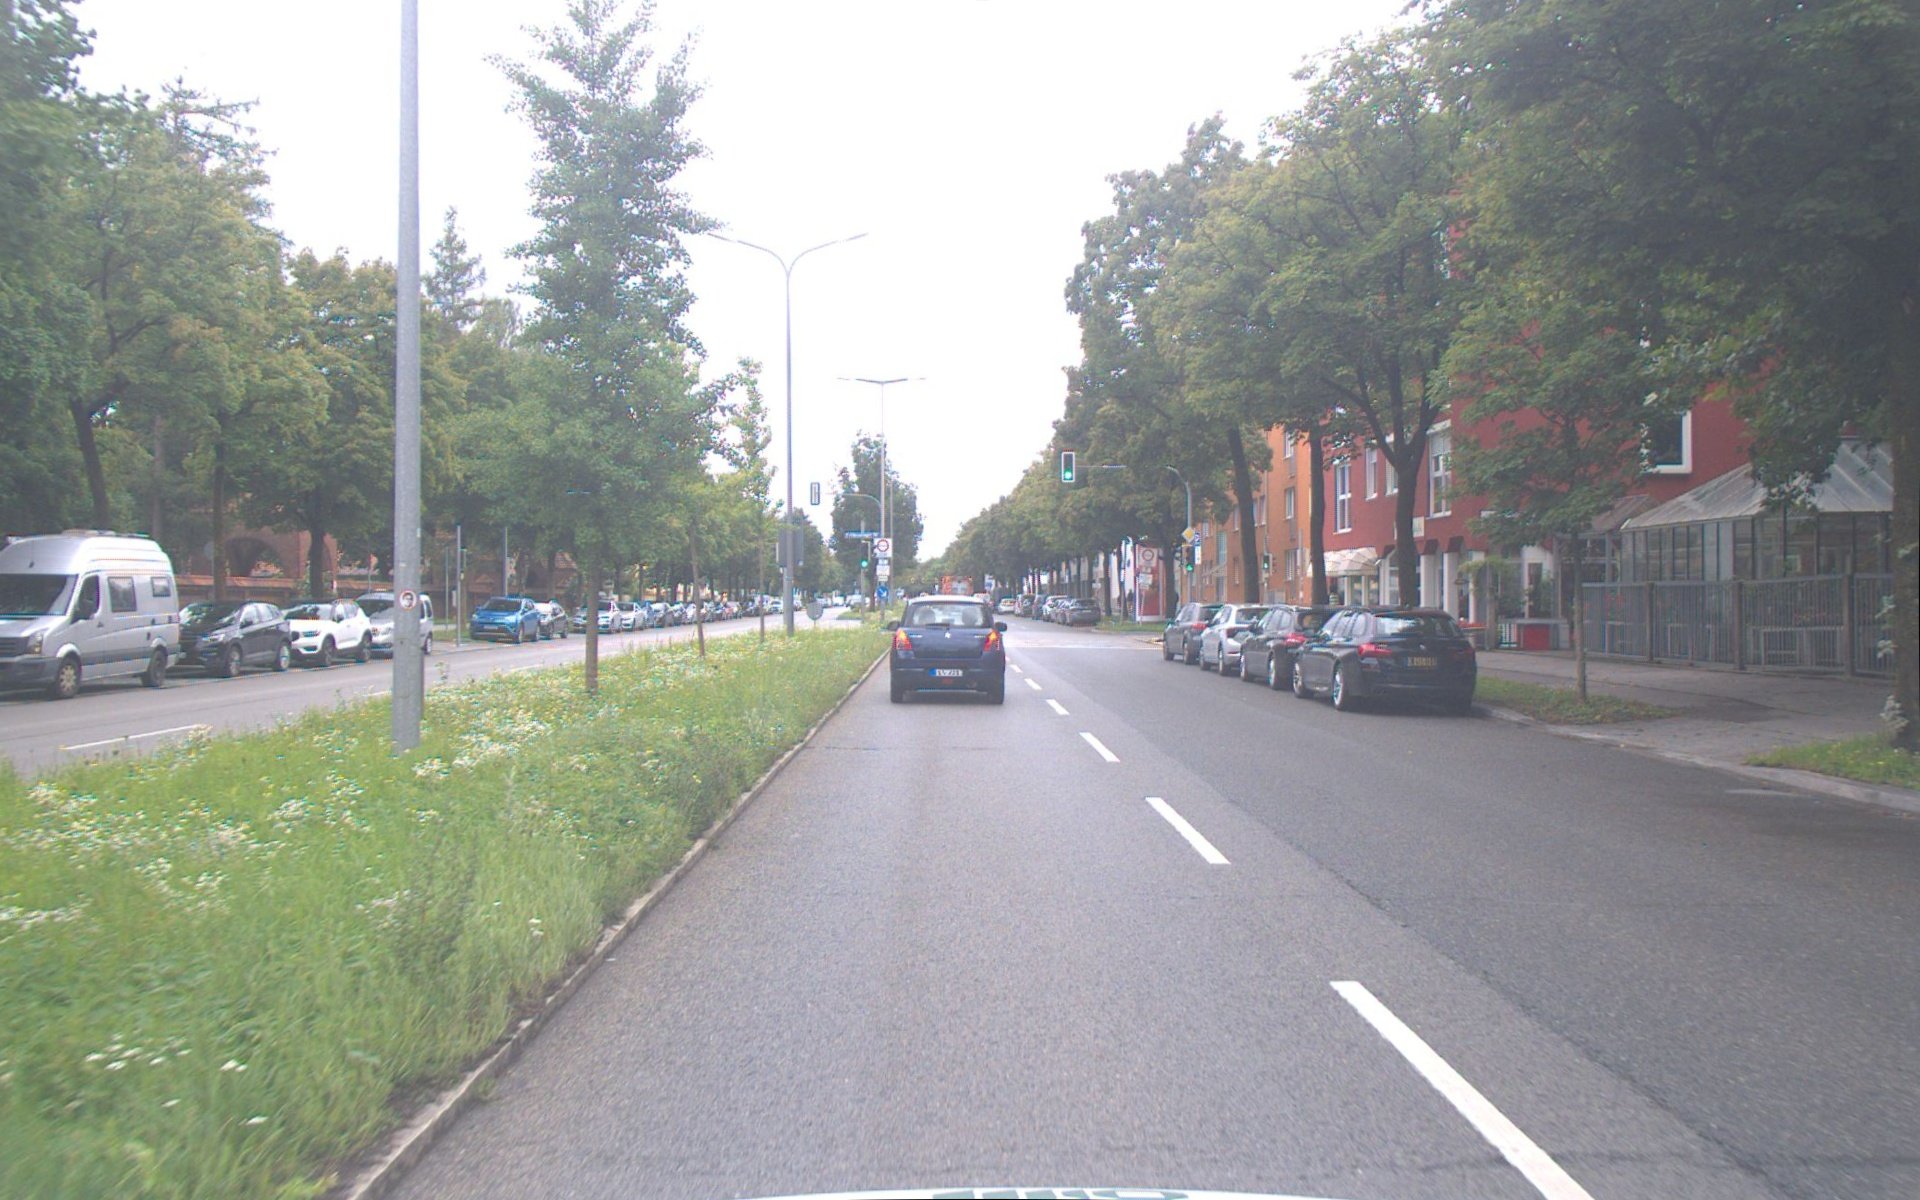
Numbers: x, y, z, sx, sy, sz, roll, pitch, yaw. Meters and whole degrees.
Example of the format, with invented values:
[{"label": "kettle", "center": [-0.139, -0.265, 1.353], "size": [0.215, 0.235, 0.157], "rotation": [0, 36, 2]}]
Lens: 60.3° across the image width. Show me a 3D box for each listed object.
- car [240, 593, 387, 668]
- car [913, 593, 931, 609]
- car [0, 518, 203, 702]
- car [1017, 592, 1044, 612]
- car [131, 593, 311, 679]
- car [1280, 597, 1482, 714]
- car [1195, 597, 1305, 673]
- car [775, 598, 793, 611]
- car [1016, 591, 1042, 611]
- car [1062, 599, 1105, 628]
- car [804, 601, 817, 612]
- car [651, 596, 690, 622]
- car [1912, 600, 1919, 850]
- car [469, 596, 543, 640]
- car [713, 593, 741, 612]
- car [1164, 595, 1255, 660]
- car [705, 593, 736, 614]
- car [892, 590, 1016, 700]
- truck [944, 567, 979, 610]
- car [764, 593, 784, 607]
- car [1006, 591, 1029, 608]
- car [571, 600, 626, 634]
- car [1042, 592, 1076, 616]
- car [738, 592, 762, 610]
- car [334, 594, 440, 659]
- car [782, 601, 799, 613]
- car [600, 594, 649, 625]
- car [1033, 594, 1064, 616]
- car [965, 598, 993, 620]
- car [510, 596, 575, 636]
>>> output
[{"label": "car", "center": [-16.356, 0.728, 42.119], "size": [2.142, 1.766, 4.575], "rotation": [1, 0, -3]}, {"label": "car", "center": [-3.648, 0.051, 159.392], "size": [1.683, 1.527, 4.300], "rotation": [0, 0, -1]}, {"label": "car", "center": [-16.130, 0.145, 30.069], "size": [2.142, 3.005, 6.188], "rotation": [1, 0, -3]}, {"label": "car", "center": [5.583, 0.147, 131.860], "size": [1.953, 1.557, 3.999], "rotation": [0, 0, -1]}, {"label": "car", "center": [-16.371, 0.748, 36.915], "size": [2.142, 1.766, 4.575], "rotation": [1, 0, -3]}, {"label": "car", "center": [6.064, 0.732, 24.373], "size": [1.620, 1.477, 4.707], "rotation": [-2, 1, -2]}, {"label": "car", "center": [6.021, 0.684, 34.745], "size": [1.660, 1.477, 4.123], "rotation": [0, 0, 1]}, {"label": "car", "center": [-21.467, 0.510, 201.970], "size": [1.765, 1.561, 3.999], "rotation": [0, 0, -1]}, {"label": "car", "center": [5.657, 0.074, 136.399], "size": [1.953, 1.557, 3.999], "rotation": [0, 0, -1]}, {"label": "car", "center": [6.741, 0.732, 90.572], "size": [1.953, 1.557, 3.999], "rotation": [0, 0, -1]}, {"label": "car", "center": [-23.132, 0.993, 256.114], "size": [1.765, 1.561, 3.999], "rotation": [0, 0, -1]}, {"label": "car", "center": [-17.824, 0.530, 101.990], "size": [1.765, 1.561, 3.999], "rotation": [0, 0, -1]}, {"label": "car", "center": [6.437, 0.768, 7.845], "size": [1.619, 1.477, 4.001], "rotation": [1, 0, 2]}, {"label": "car", "center": [-16.834, 0.654, 61.479], "size": [1.671, 1.561, 3.999], "rotation": [0, 0, -1]}, {"label": "car", "center": [-18.854, 0.199, 133.769], "size": [1.765, 1.561, 3.999], "rotation": [0, 0, -1]}, {"label": "car", "center": [6.023, 0.632, 40.240], "size": [1.660, 1.477, 4.123], "rotation": [0, 0, 1]}, {"label": "car", "center": [-17.838, 0.251, 123.407], "size": [1.765, 1.561, 3.999], "rotation": [0, 0, -1]}, {"label": "car", "center": [-0.076, 0.611, 24.886], "size": [1.717, 1.531, 4.000], "rotation": [0, 0, 0]}, {"label": "truck", "center": [0.118, -1.004, 148.020], "size": [2.979, 3.619, 13.674], "rotation": [0, 0, 0]}, {"label": "car", "center": [-20.363, -0.033, 180.913], "size": [1.765, 1.561, 3.999], "rotation": [0, 0, -1]}, {"label": "car", "center": [5.389, -0.069, 155.558], "size": [1.953, 1.557, 3.999], "rotation": [0, 0, -1]}, {"label": "car", "center": [-17.120, 0.773, 78.391], "size": [1.765, 1.561, 3.999], "rotation": [0, 0, -1]}, {"label": "car", "center": [6.473, 0.234, 108.664], "size": [1.953, 1.557, 3.999], "rotation": [0, 0, -1]}, {"label": "car", "center": [-19.561, 0.094, 154.179], "size": [1.765, 1.561, 3.999], "rotation": [1, 0, -1]}, {"label": "car", "center": [-16.303, 0.705, 47.272], "size": [1.671, 1.764, 3.999], "rotation": [0, 0, -1]}, {"label": "car", "center": [-21.412, 0.863, 209.124], "size": [1.765, 1.561, 3.999], "rotation": [0, 0, -1]}, {"label": "car", "center": [-17.234, 0.464, 85.184], "size": [1.765, 1.561, 3.999], "rotation": [0, 0, -1]}, {"label": "car", "center": [6.383, 0.322, 119.125], "size": [1.953, 1.557, 3.999], "rotation": [0, 0, -1]}, {"label": "car", "center": [1.320, 0.624, 117.135], "size": [1.784, 1.503, 4.690], "rotation": [2, 0, -1]}, {"label": "car", "center": [-17.000, 0.620, 67.452], "size": [1.671, 1.561, 3.999], "rotation": [0, 0, -1]}]
